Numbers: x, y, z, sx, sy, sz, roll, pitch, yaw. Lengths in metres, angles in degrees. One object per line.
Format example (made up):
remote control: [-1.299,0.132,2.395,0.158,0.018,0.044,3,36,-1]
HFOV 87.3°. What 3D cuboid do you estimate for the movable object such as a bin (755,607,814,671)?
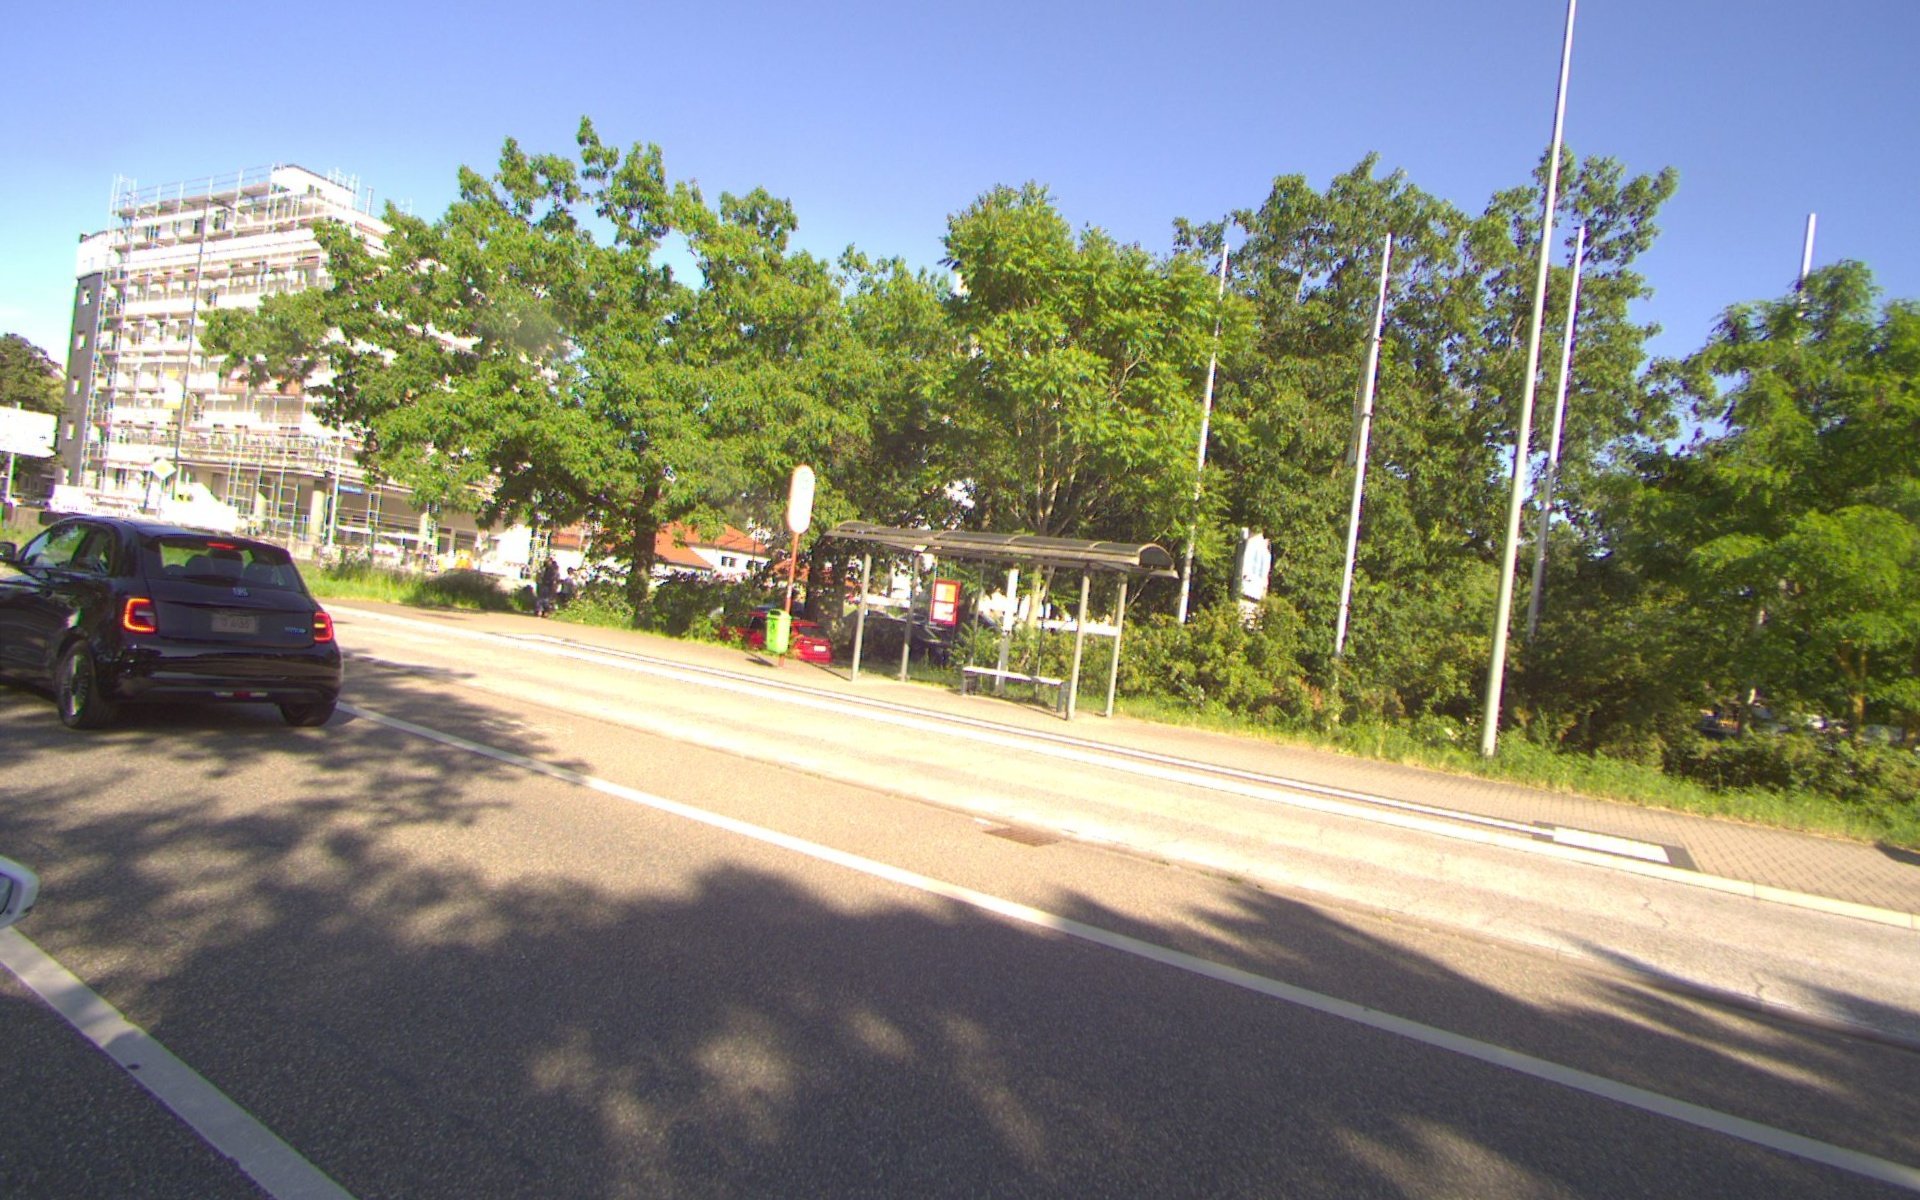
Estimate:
movable object such as a bin: [-3.077,0.691,17.676,0.568,1.042,0.727,7,0,31]

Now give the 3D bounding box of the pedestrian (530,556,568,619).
pedestrian: [-11.516,-0.343,28.185,0.542,1.654,0.622,7,0,32]

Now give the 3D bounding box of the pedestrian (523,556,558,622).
pedestrian: [-11.443,-0.303,27.451,0.403,1.721,0.603,7,0,31]

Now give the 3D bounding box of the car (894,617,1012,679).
car: [-0.275,1.793,37.861,3.938,1.835,1.846,6,-2,36]

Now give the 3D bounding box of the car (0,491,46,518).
car: [-65.305,-6.627,69.576,1.802,1.526,3.976,7,0,-24]

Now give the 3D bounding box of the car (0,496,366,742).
car: [-6.731,0.066,8.230,3.503,1.521,1.677,7,0,32]

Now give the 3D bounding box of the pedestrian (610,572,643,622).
pedestrian: [-11.477,-0.095,34.624,0.557,1.638,0.705,6,-1,26]

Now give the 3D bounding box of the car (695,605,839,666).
car: [-5.347,0.963,27.700,3.846,1.168,1.399,7,0,31]

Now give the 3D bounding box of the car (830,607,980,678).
car: [-1.948,1.458,34.881,4.811,1.556,1.996,9,-1,35]

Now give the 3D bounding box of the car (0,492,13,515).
car: [-63.308,-6.424,65.092,1.759,1.460,3.596,8,-1,-25]

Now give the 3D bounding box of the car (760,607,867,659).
car: [-6.096,1.341,41.739,3.938,1.625,1.996,6,-2,35]

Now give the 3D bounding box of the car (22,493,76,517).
car: [-82.532,-8.613,91.135,3.925,1.613,1.911,7,0,19]

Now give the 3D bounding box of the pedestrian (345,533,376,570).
pedestrian: [-26.951,-2.179,45.250,0.892,1.515,0.651,7,0,24]

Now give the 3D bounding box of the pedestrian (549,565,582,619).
pedestrian: [-11.895,-0.231,30.343,0.604,1.537,0.528,7,0,35]
